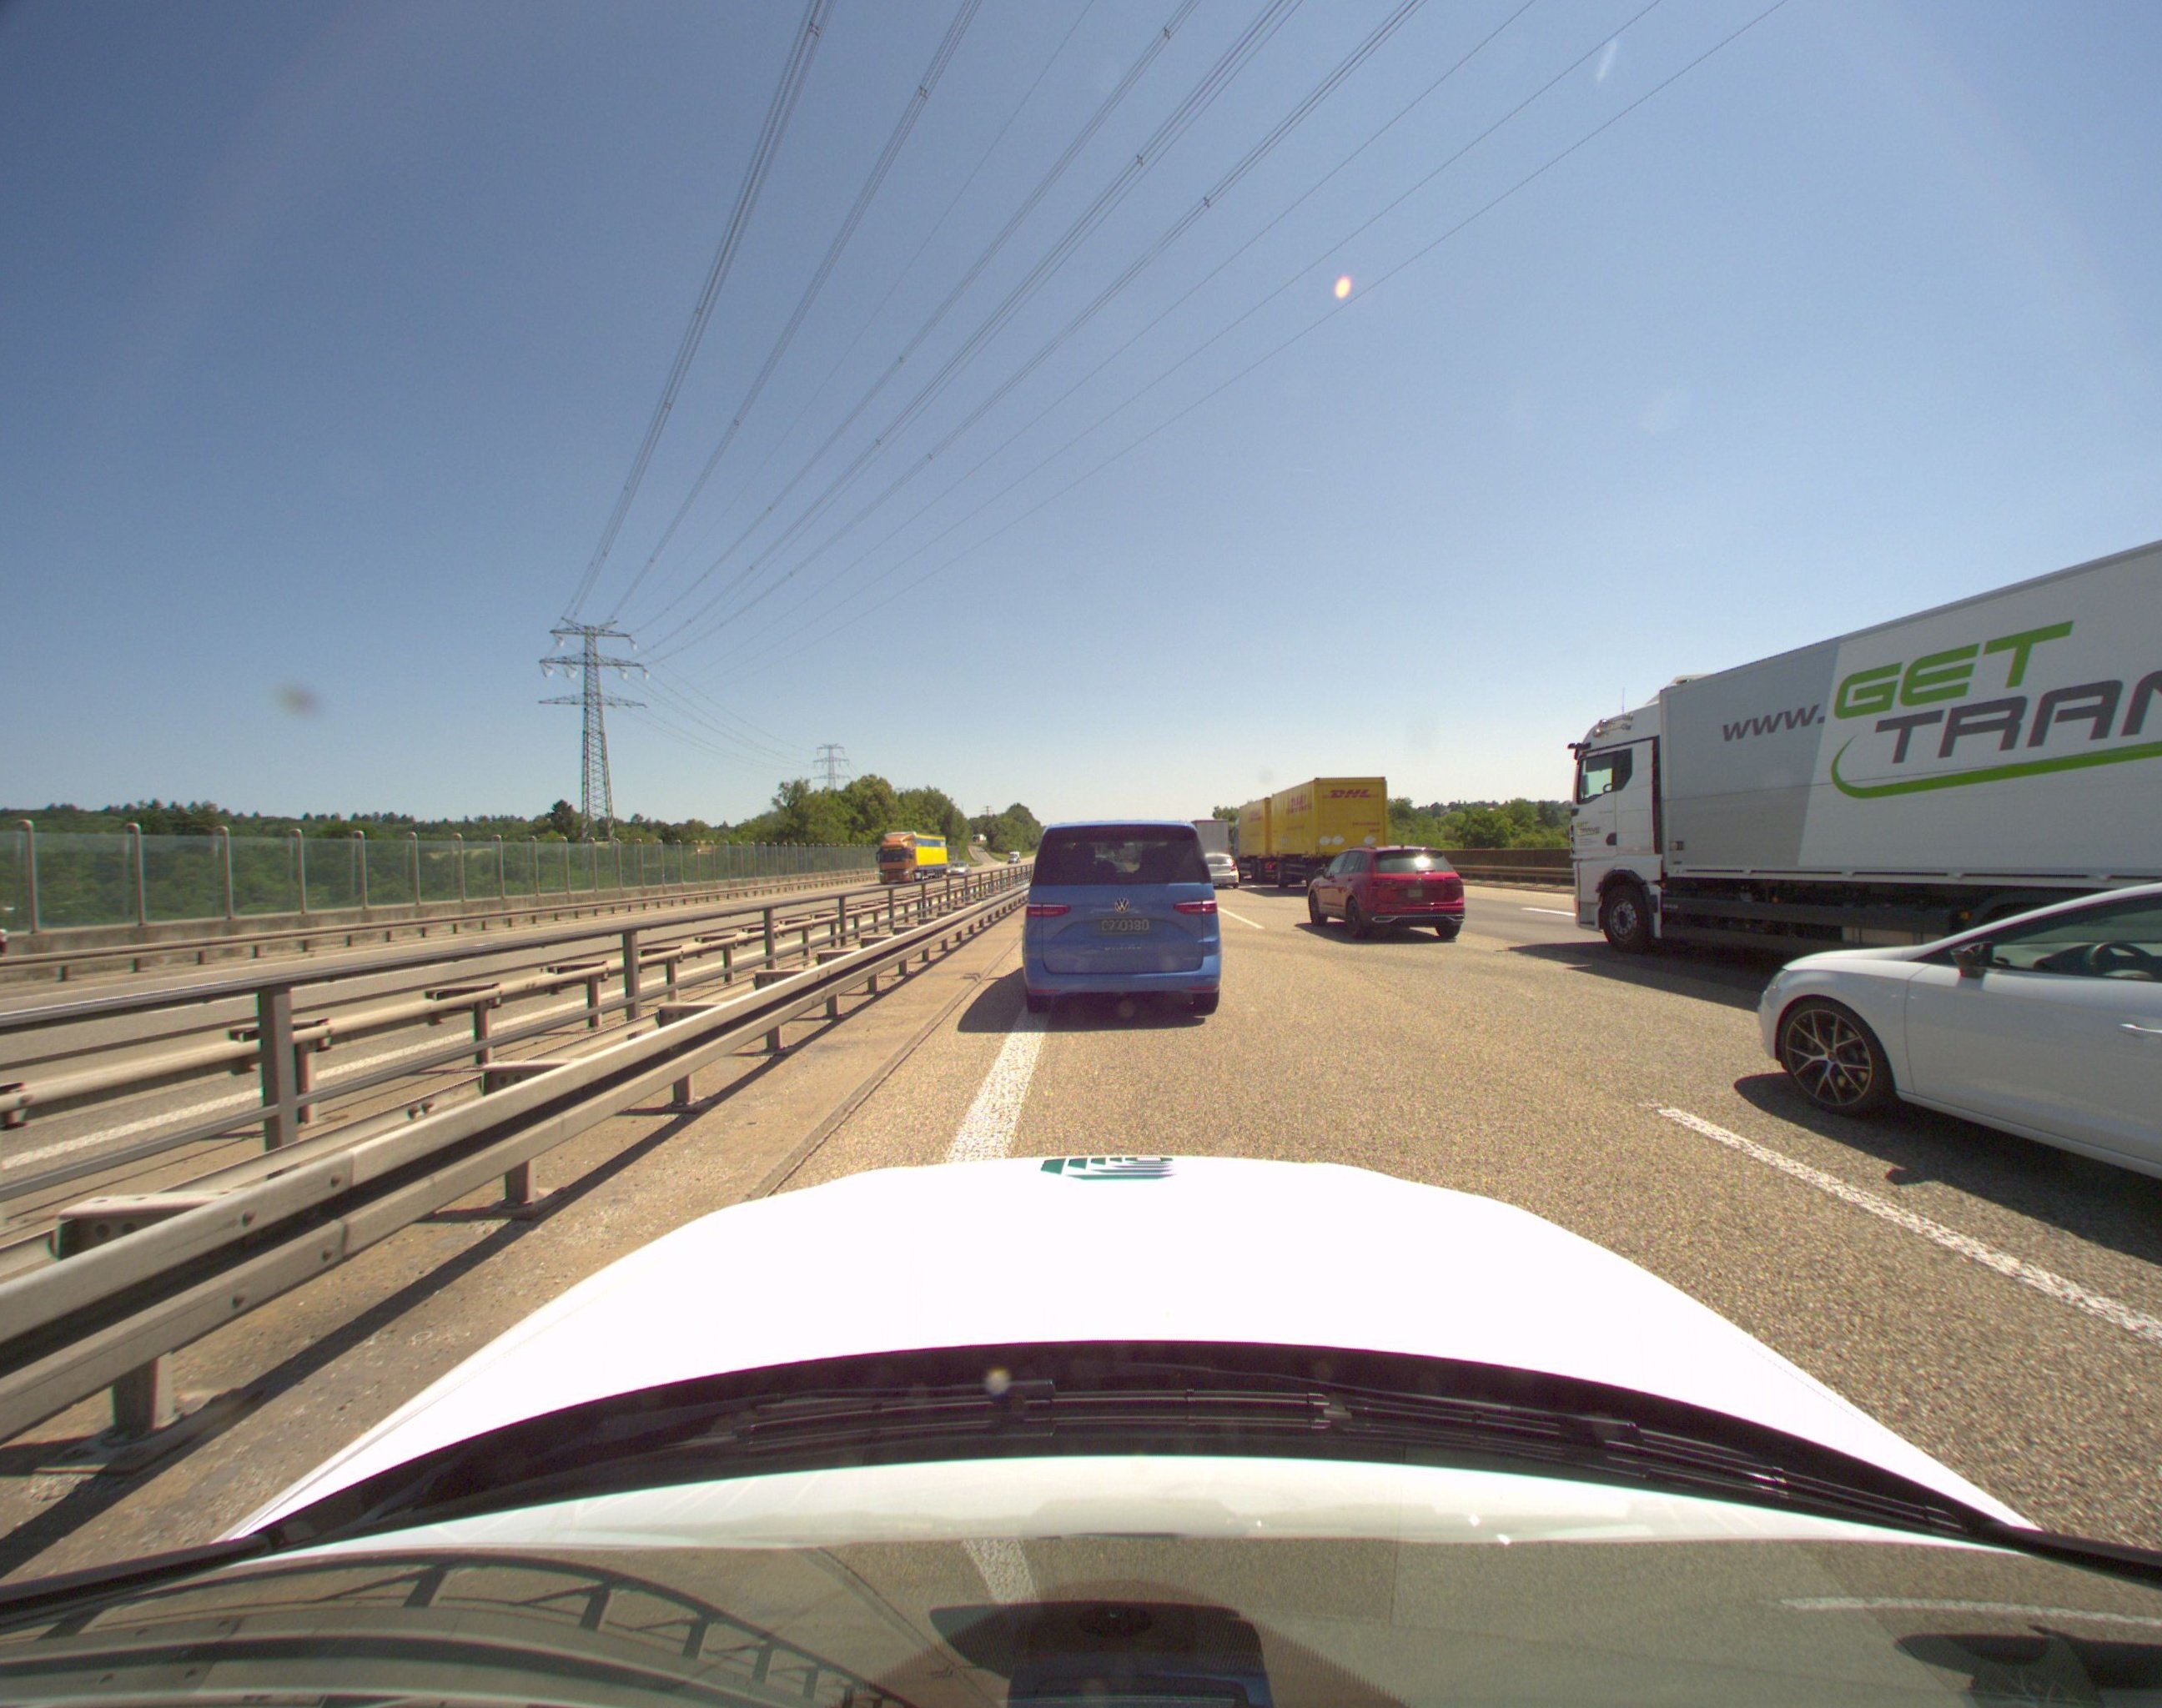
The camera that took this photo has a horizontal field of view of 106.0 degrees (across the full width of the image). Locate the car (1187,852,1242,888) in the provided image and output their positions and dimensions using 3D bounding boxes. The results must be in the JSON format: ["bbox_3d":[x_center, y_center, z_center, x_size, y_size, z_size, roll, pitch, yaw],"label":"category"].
[{"bbox_3d":[5.754,0.692,35.587,1.809,1.470,3.932,-1,-1,1],"label":"car"}]

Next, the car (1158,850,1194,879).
[{"bbox_3d":[5.614,0.610,48.396,1.808,1.679,3.933,-1,-1,2],"label":"car"}]

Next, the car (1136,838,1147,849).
[{"bbox_3d":[11.822,-2.035,159.197,1.986,2.014,4.001,-1,-1,2],"label":"car"}]

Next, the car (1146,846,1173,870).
[{"bbox_3d":[6.637,0.327,69.377,1.955,1.936,3.933,-1,-1,1],"label":"car"}]

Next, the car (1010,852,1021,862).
[{"bbox_3d":[-13.349,0.581,166.996,1.835,2.042,3.944,-1,-1,2],"label":"car"}]

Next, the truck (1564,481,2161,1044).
[{"bbox_3d":[9.013,-0.628,7.618,2.842,3.934,10.611,-1,-1,1],"label":"truck"}]

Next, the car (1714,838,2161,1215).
[{"bbox_3d":[5.011,0.656,3.181,1.702,1.451,4.430,0,0,1],"label":"car"}]

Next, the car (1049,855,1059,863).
[{"bbox_3d":[-5.951,1.102,178.097,1.835,1.751,3.944,-1,-1,2],"label":"car"}]

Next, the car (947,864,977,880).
[{"bbox_3d":[-10.303,1.545,70.805,1.681,1.303,4.017,-4,-1,5],"label":"car"}]

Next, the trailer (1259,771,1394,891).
[{"bbox_3d":[9.411,-0.757,32.498,2.674,4.088,8.979,0,-1,0],"label":"trailer"}]

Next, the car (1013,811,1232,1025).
[{"bbox_3d":[0.416,0.581,9.191,1.923,1.874,4.001,-1,-1,1],"label":"car"}]

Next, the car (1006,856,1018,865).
[{"bbox_3d":[-13.701,1.361,161.524,1.835,1.751,3.944,-1,-1,2],"label":"car"}]

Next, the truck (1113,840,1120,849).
[{"bbox_3d":[11.132,-3.006,257.413,1.986,2.585,4.554,-1,-1,2],"label":"truck"}]

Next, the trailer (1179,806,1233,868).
[{"bbox_3d":[10.121,-1.240,67.113,3.015,4.611,10.929,-1,-1,2],"label":"trailer"}]

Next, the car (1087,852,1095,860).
[{"bbox_3d":[2.584,0.527,204.594,1.986,2.014,4.001,-1,-1,2],"label":"car"}]

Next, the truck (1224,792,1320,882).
[{"bbox_3d":[9.562,-0.716,41.983,2.690,4.088,9.939,0,-1,0],"label":"truck"}]

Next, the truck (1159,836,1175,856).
[{"bbox_3d":[11.470,-1.025,108.469,1.790,2.596,4.307,-1,-1,2],"label":"truck"}]

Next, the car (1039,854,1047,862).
[{"bbox_3d":[-10.101,1.134,219.190,1.835,2.042,3.944,-1,-1,2],"label":"car"}]

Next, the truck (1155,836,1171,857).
[{"bbox_3d":[10.419,-0.942,103.564,1.735,2.549,4.211,-1,-1,2],"label":"truck"}]

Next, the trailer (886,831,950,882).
[{"bbox_3d":[-14.475,0.248,73.714,2.619,4.114,14.018,-2,-1,1],"label":"trailer"}]

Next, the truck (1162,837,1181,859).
[{"bbox_3d":[10.491,-0.690,94.356,1.791,2.449,4.506,-1,-1,2],"label":"truck"}]

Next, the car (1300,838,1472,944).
[{"bbox_3d":[5.590,0.604,15.527,1.702,1.679,4.286,-2,0,1],"label":"car"}]

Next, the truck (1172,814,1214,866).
[{"bbox_3d":[10.441,-1.169,76.548,3.015,4.611,7.924,-1,-1,2],"label":"truck"}]

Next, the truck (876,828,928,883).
[{"bbox_3d":[-14.637,0.158,67.100,2.662,4.185,6.288,-2,-1,1],"label":"truck"}]
